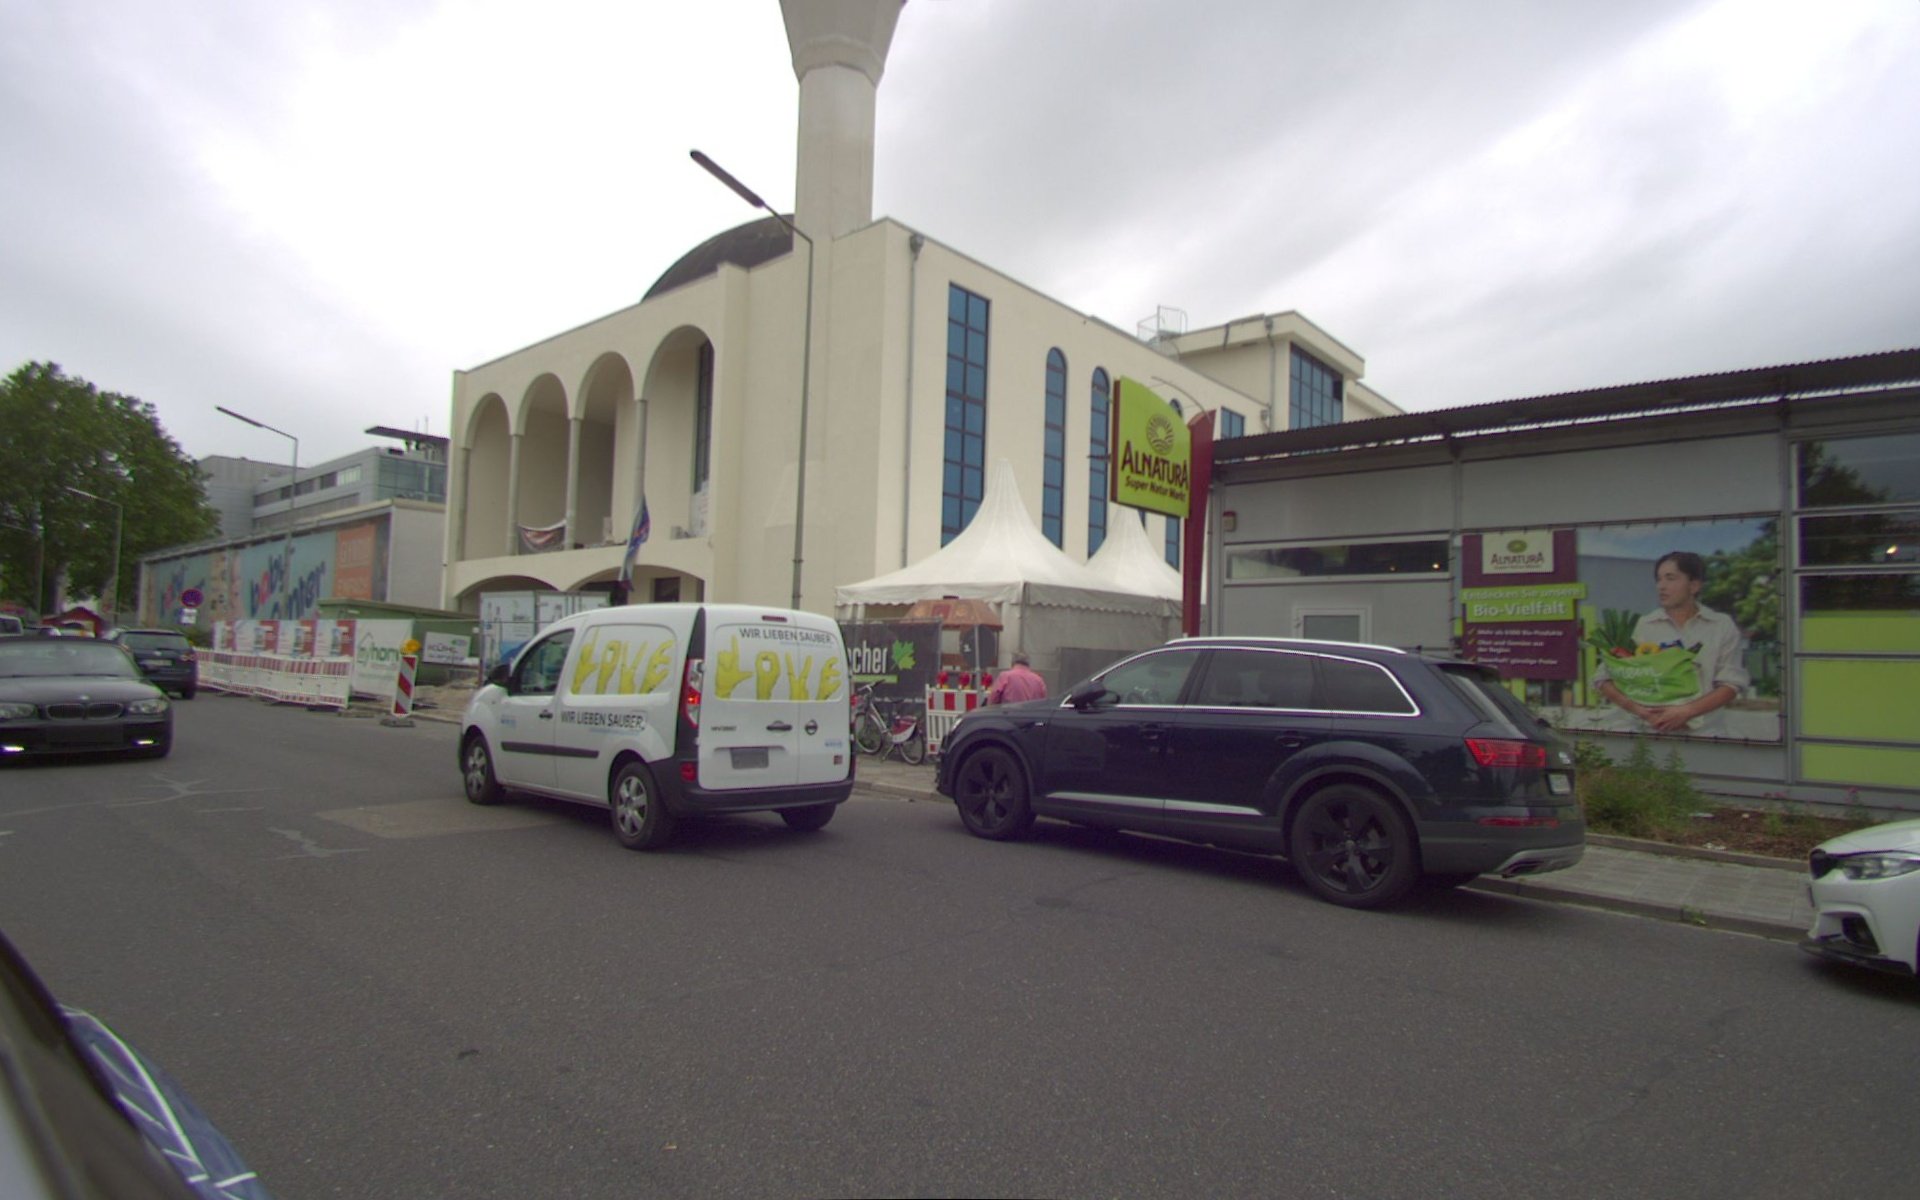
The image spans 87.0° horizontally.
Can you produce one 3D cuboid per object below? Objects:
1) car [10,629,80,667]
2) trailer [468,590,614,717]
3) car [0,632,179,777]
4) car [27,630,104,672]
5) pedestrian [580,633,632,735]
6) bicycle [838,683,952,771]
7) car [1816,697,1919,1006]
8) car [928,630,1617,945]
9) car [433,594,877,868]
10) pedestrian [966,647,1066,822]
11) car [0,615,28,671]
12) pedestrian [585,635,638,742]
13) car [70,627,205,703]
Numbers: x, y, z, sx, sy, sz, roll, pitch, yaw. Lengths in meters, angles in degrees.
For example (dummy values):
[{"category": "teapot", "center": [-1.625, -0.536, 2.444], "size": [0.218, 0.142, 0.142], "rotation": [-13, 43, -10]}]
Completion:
[{"category": "car", "center": [-43.318, 2.246, 47.883], "size": [4.148, 1.586, 1.903], "rotation": [-2, -8, 42]}, {"category": "trailer", "center": [-9.413, 1.197, 22.676], "size": [3.192, 2.627, 1.778], "rotation": [-2, -5, 44]}, {"category": "car", "center": [-10.624, 1.087, 11.733], "size": [4.137, 1.369, 1.727], "rotation": [-1, -2, 42]}, {"category": "car", "center": [-38.631, 2.196, 43.679], "size": [4.148, 1.586, 1.903], "rotation": [-2, -8, 42]}, {"category": "pedestrian", "center": [-6.250, 1.476, 17.895], "size": [0.681, 1.763, 0.491], "rotation": [2, -4, -5]}, {"category": "bicycle", "center": [-0.964, 1.784, 14.546], "size": [0.537, 1.086, 1.903], "rotation": [4, -3, -42]}, {"category": "car", "center": [6.383, 1.245, 4.029], "size": [4.515, 1.378, 1.681], "rotation": [-1, -9, 41]}, {"category": "car", "center": [2.130, 1.174, 7.822], "size": [4.728, 1.704, 1.845], "rotation": [-2, -8, 42]}, {"category": "car", "center": [-2.752, 0.946, 8.619], "size": [4.134, 1.774, 1.671], "rotation": [-2, -5, 42]}, {"category": "pedestrian", "center": [0.553, 1.325, 10.057], "size": [0.664, 1.634, 0.655], "rotation": [7, -7, -23]}, {"category": "car", "center": [-37.071, 1.576, 38.451], "size": [4.954, 2.029, 1.906], "rotation": [-1, -4, 42]}, {"category": "pedestrian", "center": [-5.903, 1.494, 17.178], "size": [0.681, 1.763, 0.491], "rotation": [2, -4, -5]}, {"category": "car", "center": [-19.077, 1.481, 23.419], "size": [3.945, 1.584, 1.711], "rotation": [-1, -6, 42]}]
